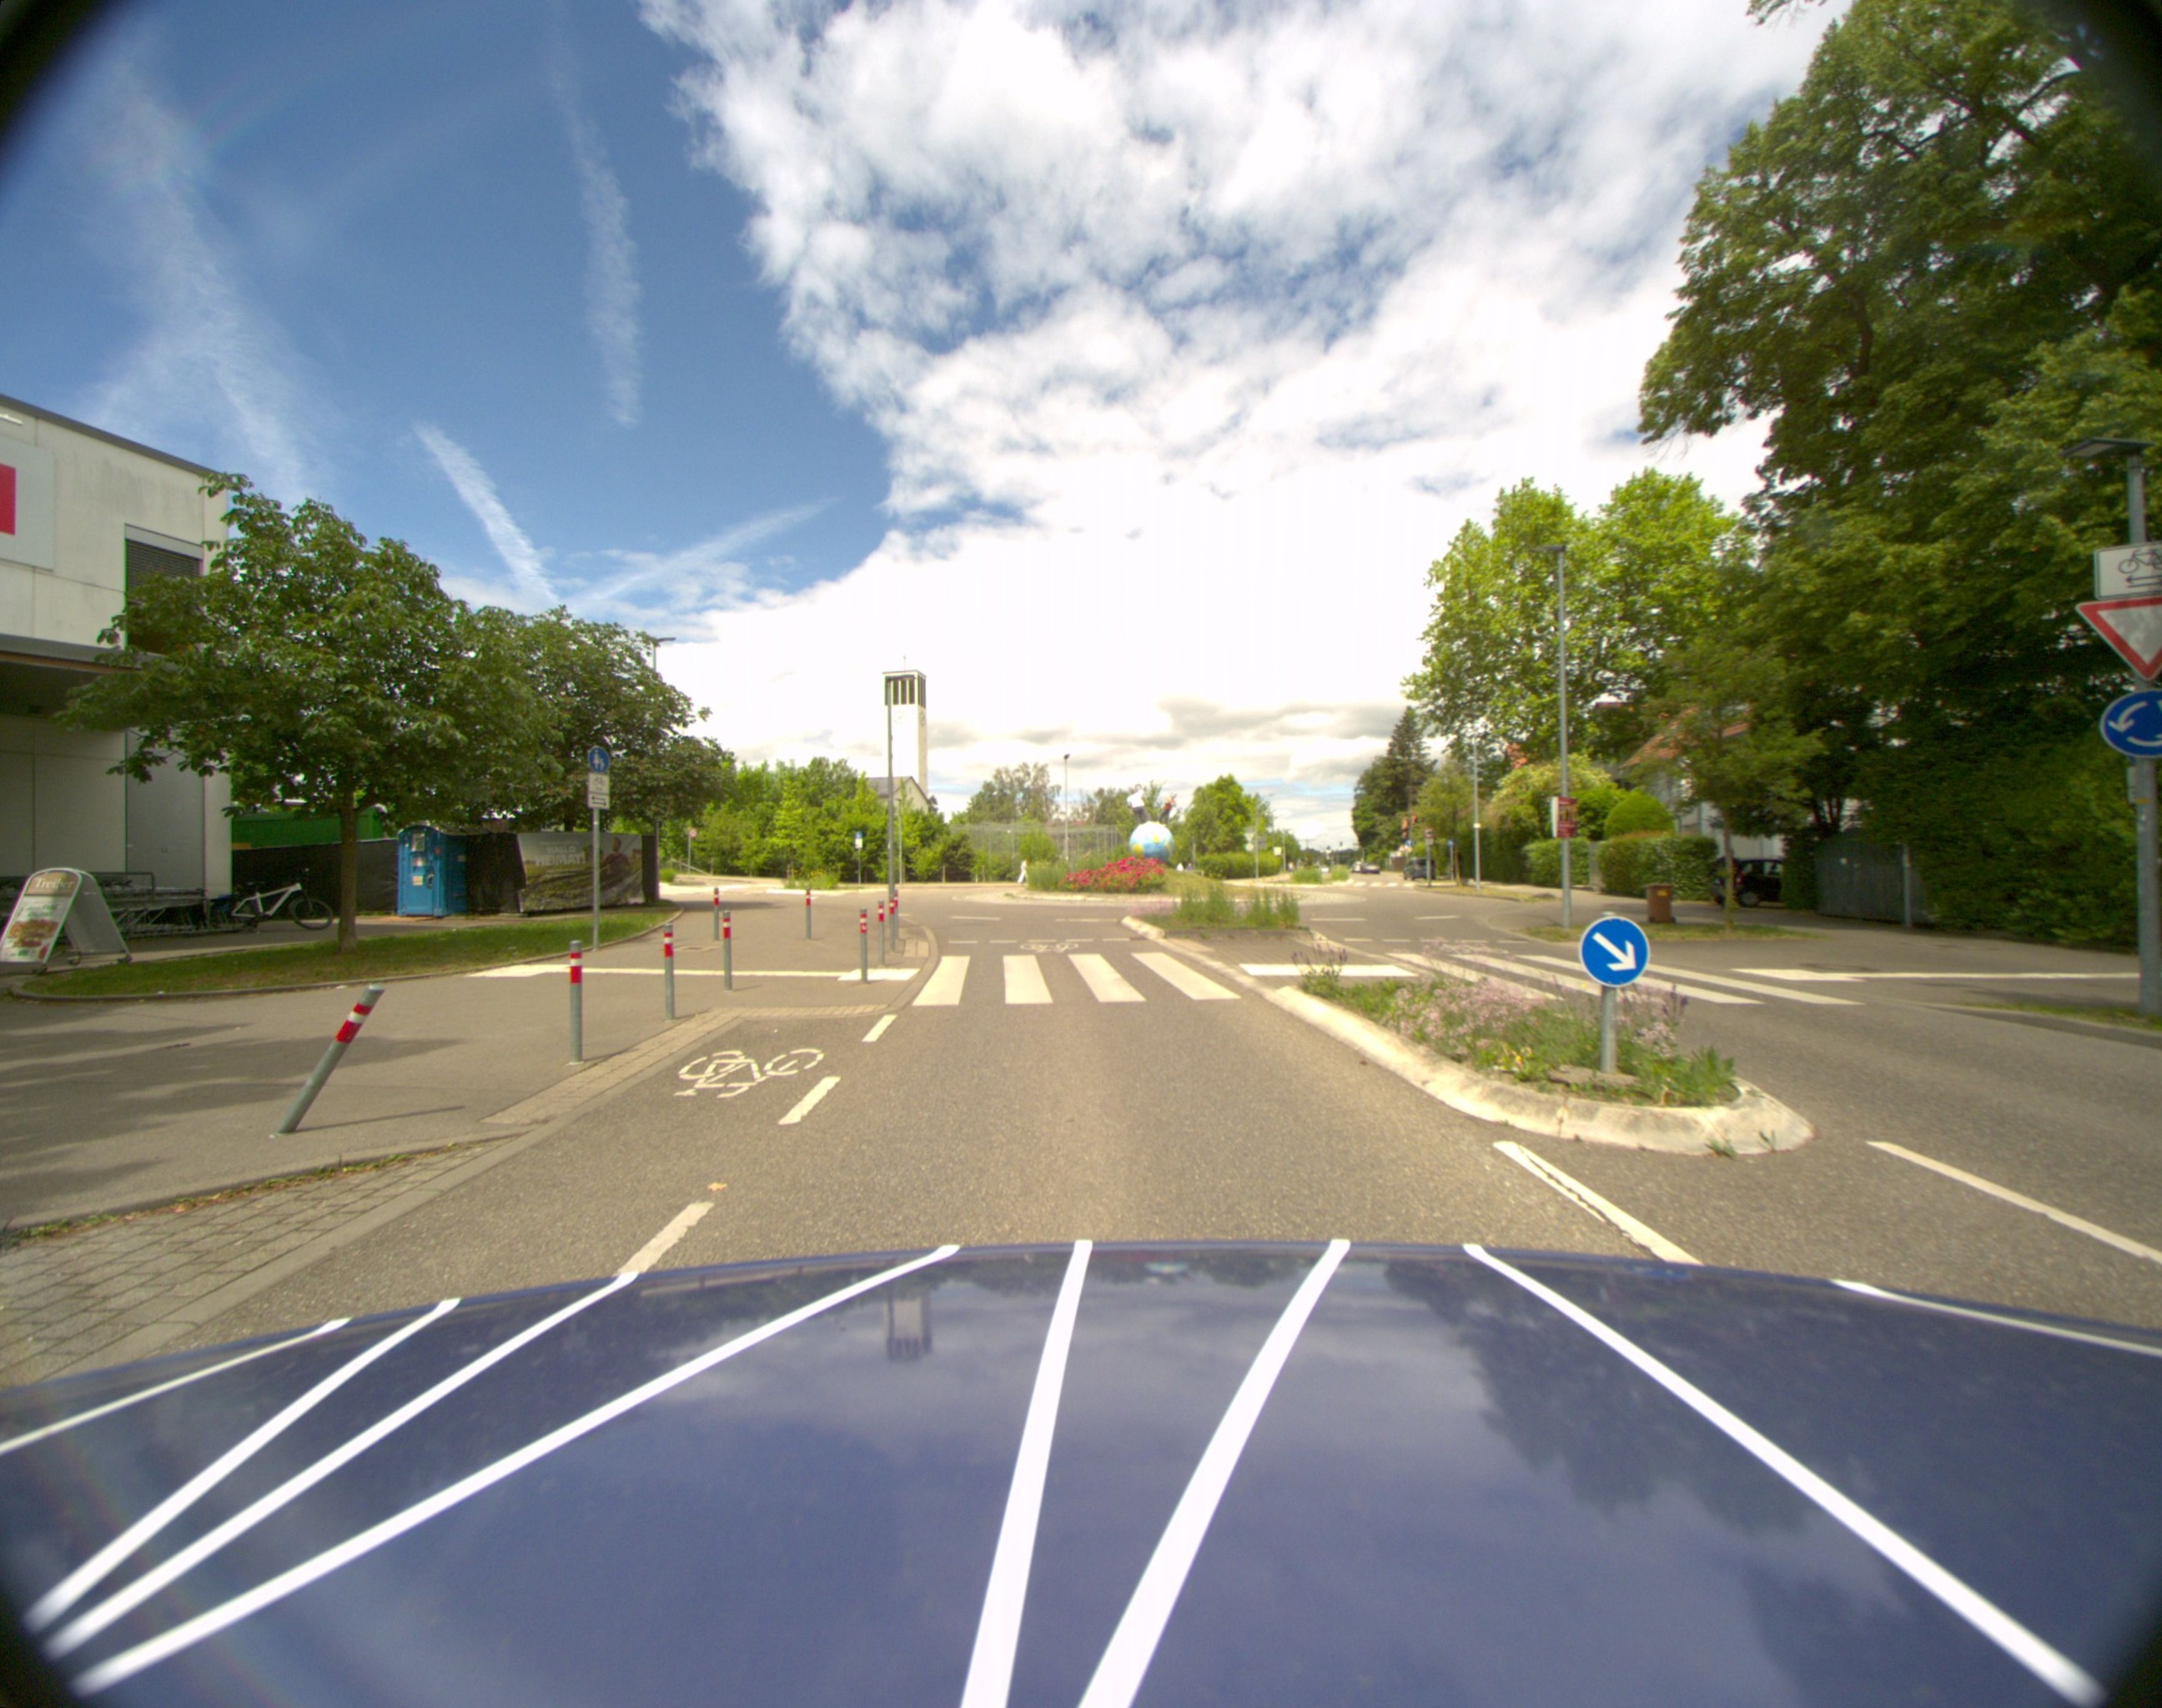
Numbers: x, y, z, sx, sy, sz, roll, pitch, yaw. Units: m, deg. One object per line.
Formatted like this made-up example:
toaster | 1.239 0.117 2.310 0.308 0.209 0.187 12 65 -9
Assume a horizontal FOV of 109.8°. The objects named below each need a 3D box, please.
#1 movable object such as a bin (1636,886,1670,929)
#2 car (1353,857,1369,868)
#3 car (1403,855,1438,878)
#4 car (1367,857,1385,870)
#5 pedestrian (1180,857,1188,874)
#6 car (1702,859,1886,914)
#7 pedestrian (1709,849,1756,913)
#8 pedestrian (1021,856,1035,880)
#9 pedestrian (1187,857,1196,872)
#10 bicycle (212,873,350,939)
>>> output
movable object such as a bin | 12.922 1.203 17.159 0.441 0.929 0.412 0 1 -11
car | 45.760 1.343 124.268 1.996 1.696 4.004 0 0 13
car | 25.417 0.906 56.967 1.678 1.652 4.004 0 0 13
car | 36.653 1.186 94.465 1.860 1.568 4.005 -1 0 18
pedestrian | 10.386 1.170 76.617 0.608 1.687 0.567 -1 0 -3
car | 21.014 0.922 22.573 3.571 1.389 1.667 2 1 18
pedestrian | 17.543 0.722 20.473 0.744 1.681 0.695 -1 1 19
pedestrian | -3.317 0.869 47.779 0.457 1.524 0.965 -1 0 25
pedestrian | 11.164 1.030 76.745 0.764 1.548 0.601 0 1 -5
bicycle | -16.270 1.040 15.503 1.774 1.227 0.714 -2 0 -16
